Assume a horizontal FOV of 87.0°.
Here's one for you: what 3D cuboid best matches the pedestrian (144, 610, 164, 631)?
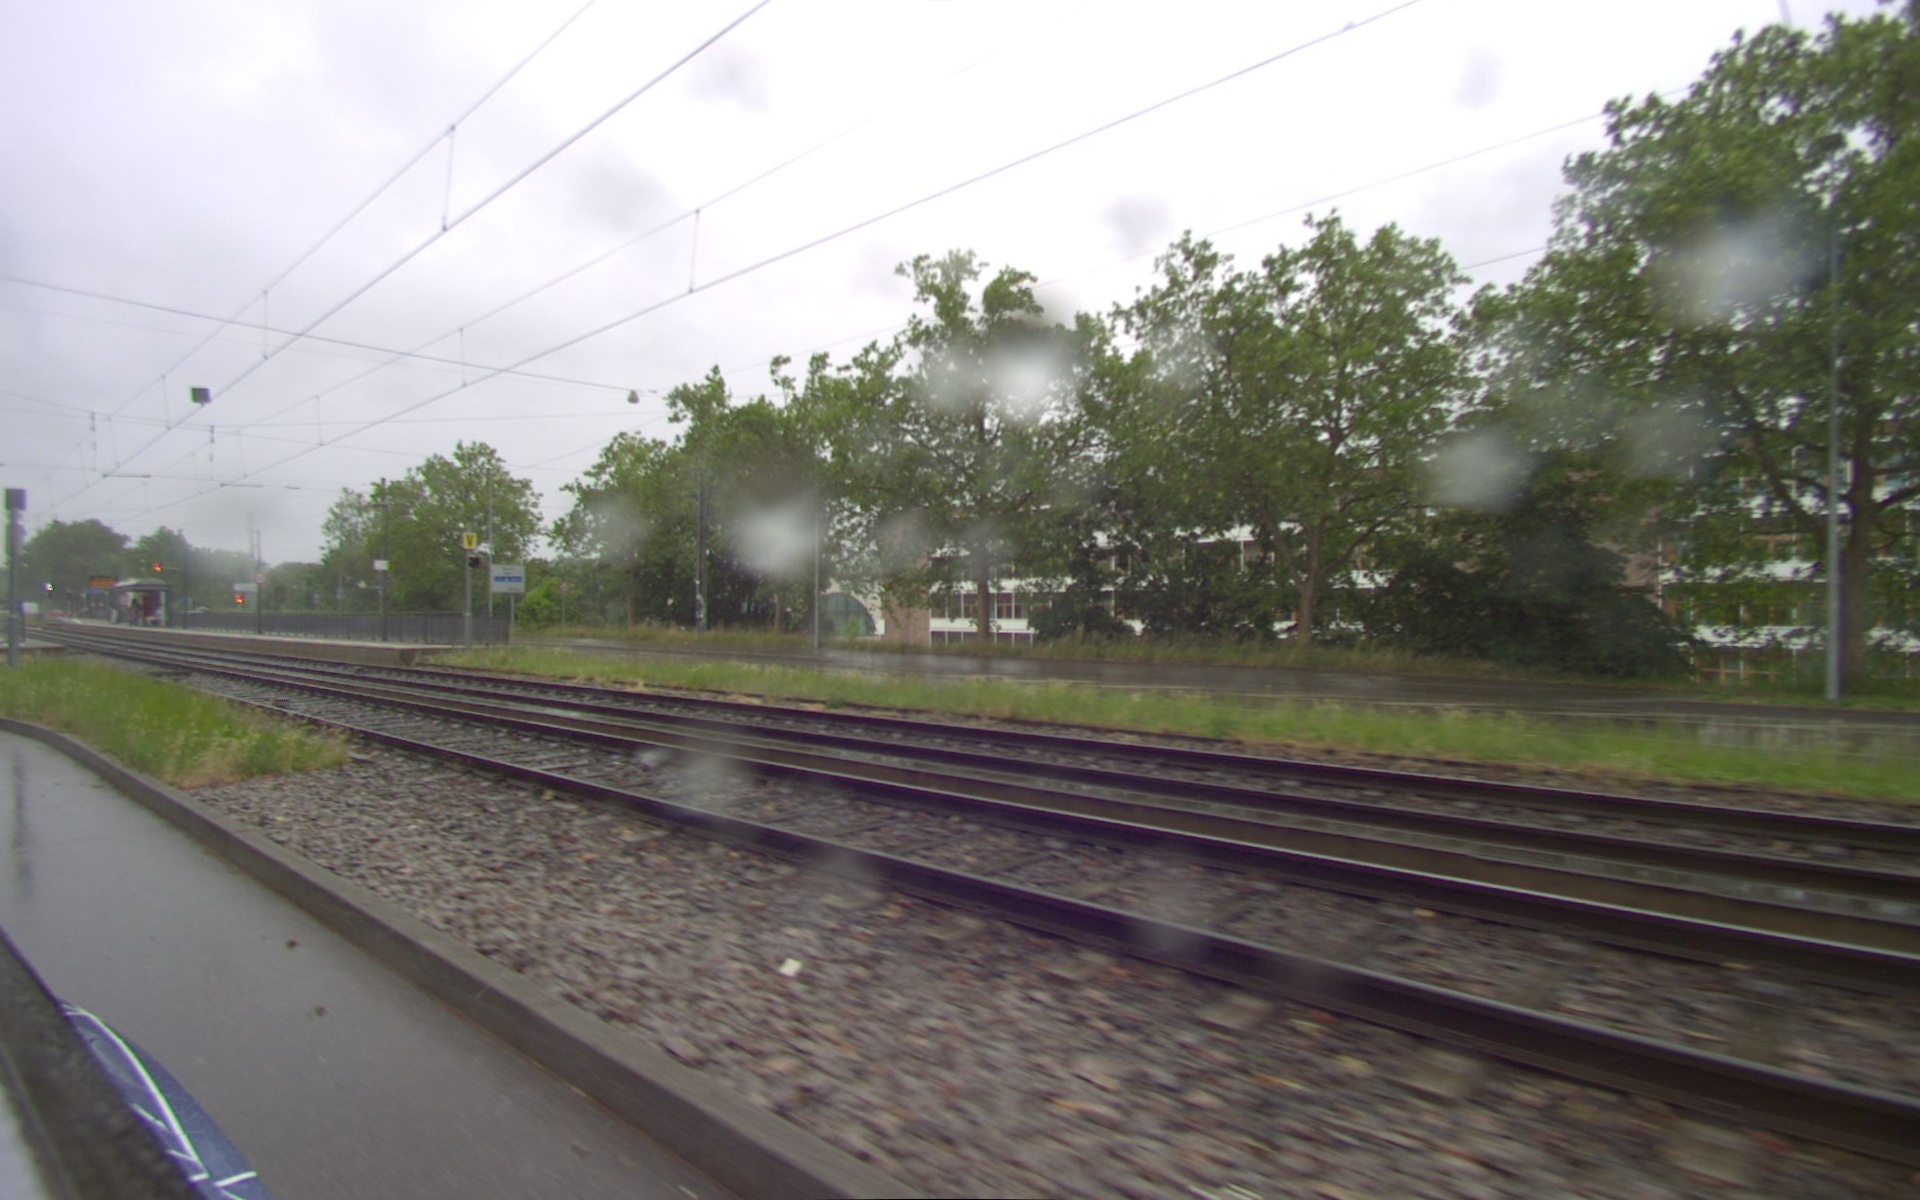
[{"bbox_3d":[-50.262,1.272,63.098,0.858,1.326,0.822,-1,1,43],"label":"pedestrian"}]

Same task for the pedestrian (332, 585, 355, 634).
[{"bbox_3d":[-52.204,0.782,85.695,1.515,4.059,1.160,0,0,32],"label":"pedestrian"}]

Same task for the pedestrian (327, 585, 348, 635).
[{"bbox_3d":[-50.875,0.793,82.738,1.152,4.059,1.524,0,0,-19],"label":"pedestrian"}]
